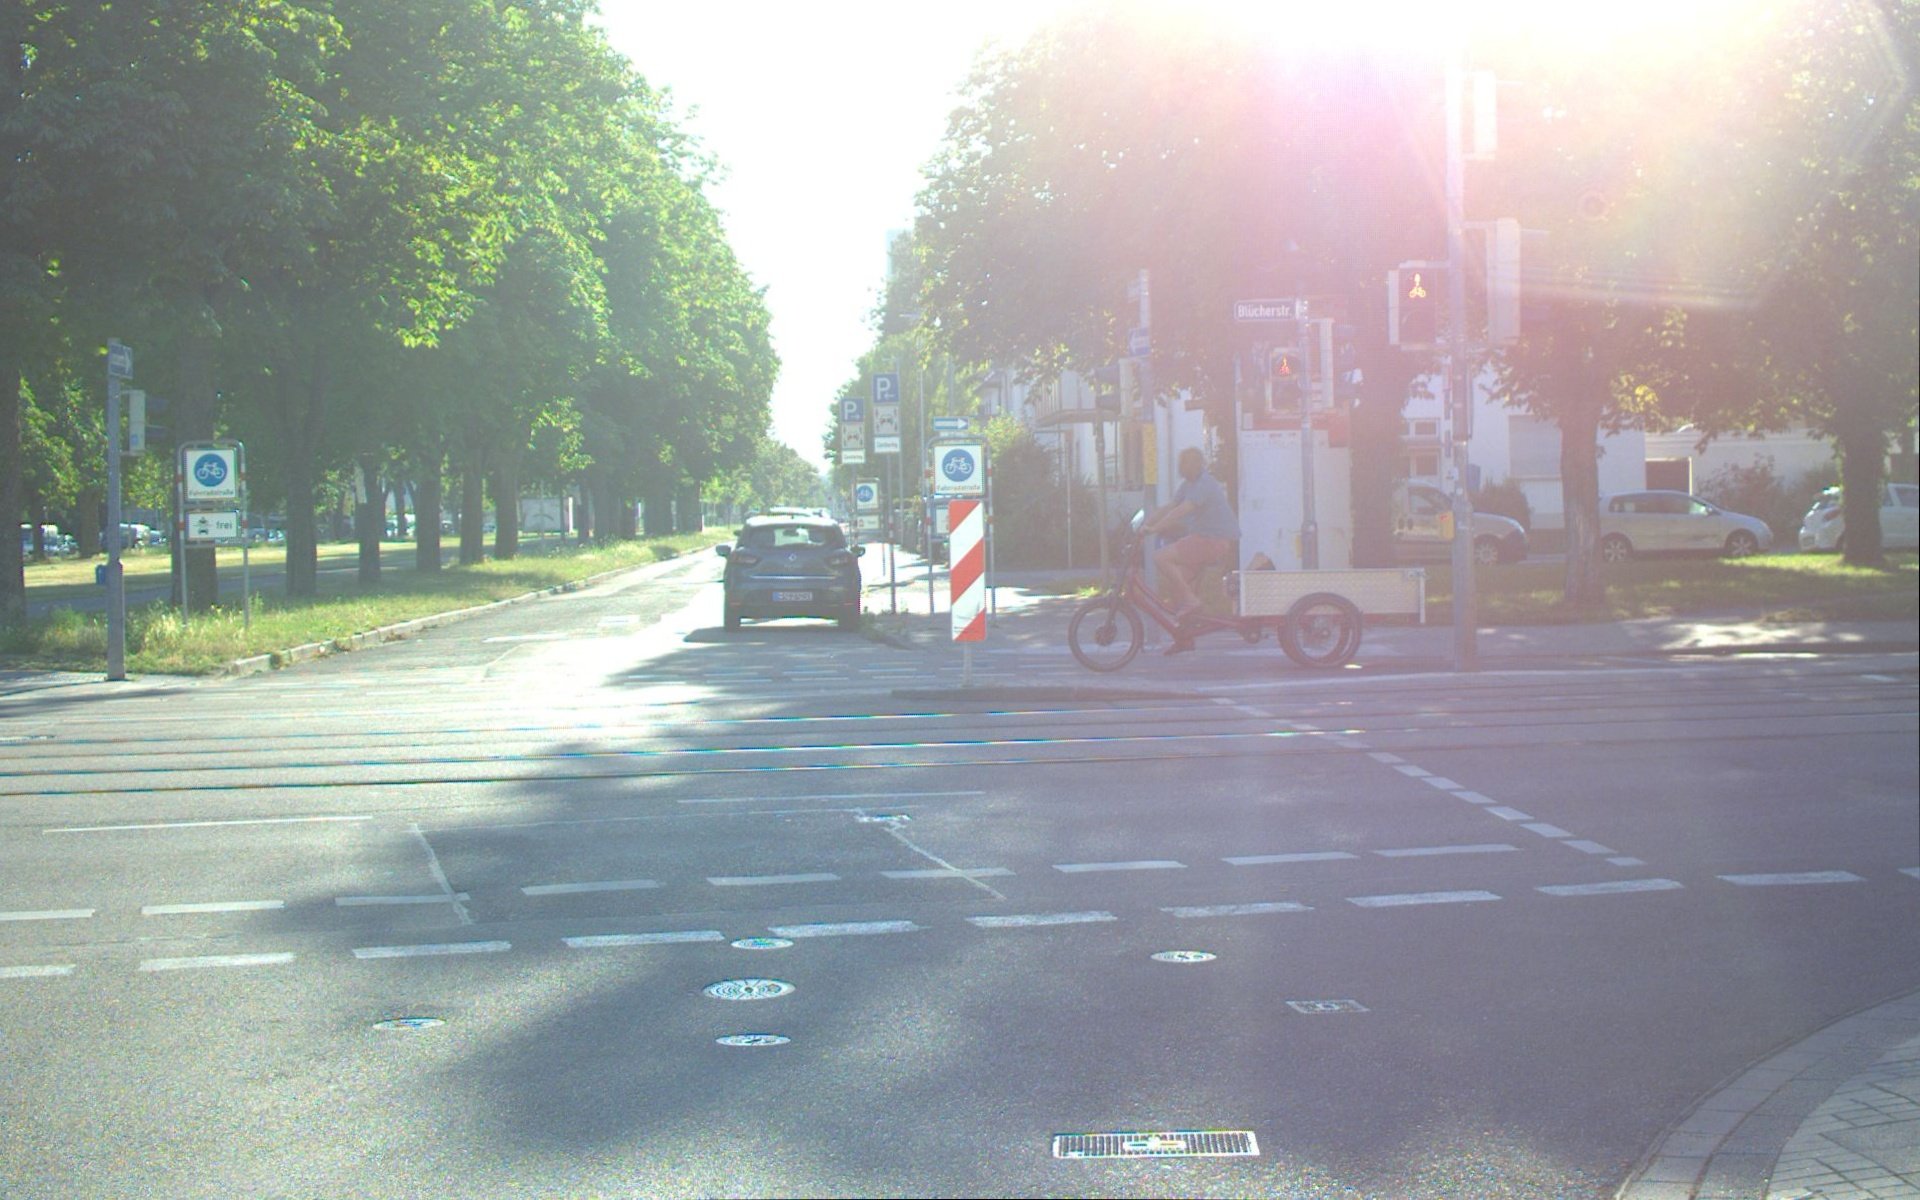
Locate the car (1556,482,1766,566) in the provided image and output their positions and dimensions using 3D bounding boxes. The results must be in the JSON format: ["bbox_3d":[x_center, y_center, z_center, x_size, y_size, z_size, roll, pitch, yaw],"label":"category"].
[{"bbox_3d":[13.312,-1.441,65.372,3.552,1.510,1.606,-1,1,-8],"label":"car"}]

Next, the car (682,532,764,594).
[{"bbox_3d":[-5.361,-0.833,78.245,1.709,1.355,4.203,1,1,-2],"label":"car"}]

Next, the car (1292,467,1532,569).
[{"bbox_3d":[8.578,-1.552,65.521,4.241,1.868,2.031,-1,1,-2],"label":"car"}]

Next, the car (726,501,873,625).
[{"bbox_3d":[-2.040,-0.482,44.635,1.725,1.506,4.541,1,1,-1],"label":"car"}]

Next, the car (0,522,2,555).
[{"bbox_3d":[-49.690,-3.115,172.690,1.993,1.653,4.355,1,1,-1],"label":"car"}]

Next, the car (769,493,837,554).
[{"bbox_3d":[-4.762,-2.331,103.735,1.993,1.775,4.001,1,2,-3],"label":"car"}]

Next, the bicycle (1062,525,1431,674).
[{"bbox_3d":[2.461,-0.008,29.417,3.074,1.157,0.875,-2,1,8],"label":"bicycle"}]

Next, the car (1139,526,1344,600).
[{"bbox_3d":[5.753,-0.759,70.607,3.986,1.442,1.716,-1,1,-2],"label":"car"}]

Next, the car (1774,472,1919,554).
[{"bbox_3d":[17.772,-1.667,65.935,3.920,1.518,1.524,0,0,-7],"label":"car"}]

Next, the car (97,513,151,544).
[{"bbox_3d":[-45.464,-3.893,187.081,1.993,1.653,4.571,-1,2,-3],"label":"car"}]

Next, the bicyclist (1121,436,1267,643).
[{"bbox_3d":[2.015,-0.516,29.470,1.145,1.717,0.875,-2,1,8],"label":"bicyclist"}]

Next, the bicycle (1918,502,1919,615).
[{"bbox_3d":[9.961,-0.398,32.810,1.522,1.085,0.467,-1,4,8],"label":"bicycle"}]

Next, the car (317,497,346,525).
[{"bbox_3d":[-46.418,-6.554,253.973,1.654,1.932,3.568,1,-1,-3],"label":"car"}]

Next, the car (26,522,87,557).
[{"bbox_3d":[-44.025,-2.958,167.545,2.022,1.653,3.984,1,1,-2],"label":"car"}]

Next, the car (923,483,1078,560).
[{"bbox_3d":[1.083,-2.119,93.618,3.986,1.816,1.760,-2,-4,-6],"label":"car"}]
